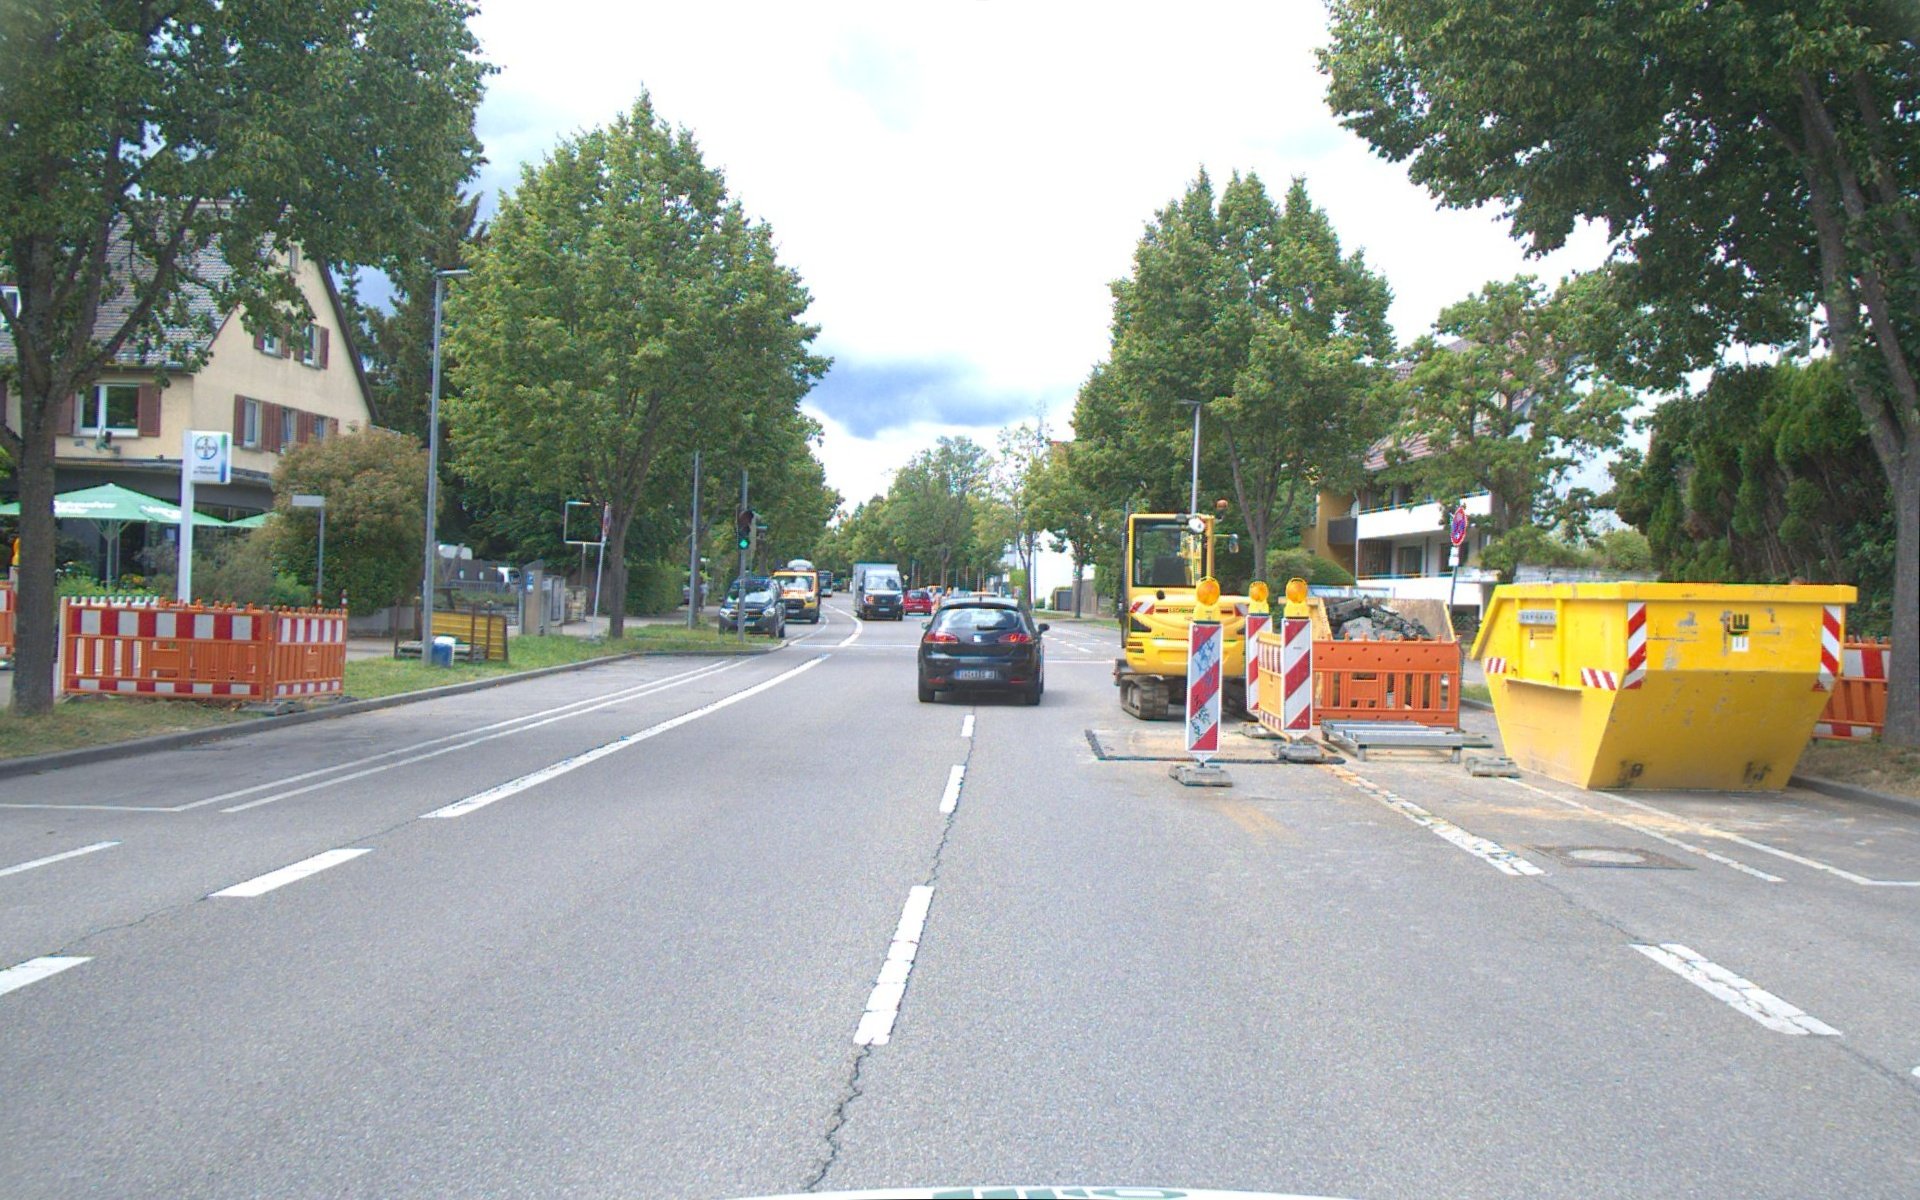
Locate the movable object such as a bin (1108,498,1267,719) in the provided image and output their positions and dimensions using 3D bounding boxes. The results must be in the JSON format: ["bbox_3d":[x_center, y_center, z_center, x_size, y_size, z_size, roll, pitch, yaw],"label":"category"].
[{"bbox_3d":[2.890,0.087,21.696,1.731,2.619,3.741,1,0,3],"label":"movable object such as a bin"}]

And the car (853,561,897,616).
[{"bbox_3d":[-4.487,-0.605,88.106,2.242,2.840,7.141,0,0,-2],"label":"car"}]

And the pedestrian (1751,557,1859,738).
[{"bbox_3d":[7.959,0.434,15.598,0.689,1.663,0.644,1,0,3],"label":"pedestrian"}]

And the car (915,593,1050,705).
[{"bbox_3d":[0.401,0.647,23.907,1.781,1.463,3.741,0,0,3],"label":"car"}]

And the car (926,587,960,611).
[{"bbox_3d":[-1.094,-0.075,103.722,1.775,1.440,3.688,1,0,-6],"label":"car"}]

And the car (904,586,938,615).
[{"bbox_3d":[-2.341,0.027,98.503,1.756,1.651,3.735,0,0,-6],"label":"car"}]

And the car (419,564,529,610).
[{"bbox_3d":[-19.760,-0.517,67.320,3.903,1.800,1.747,1,0,5],"label":"car"}]

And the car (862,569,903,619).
[{"bbox_3d":[-3.809,-0.303,81.947,1.988,2.426,5.260,0,0,-2],"label":"car"}]

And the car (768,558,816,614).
[{"bbox_3d":[-8.313,-0.678,82.086,2.050,2.672,5.042,1,0,-3],"label":"car"}]

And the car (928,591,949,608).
[{"bbox_3d":[-1.846,-0.075,145.363,1.773,1.440,3.693,1,0,0],"label":"car"}]

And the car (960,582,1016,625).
[{"bbox_3d":[1.114,0.141,68.195,1.869,1.715,3.735,0,0,-6],"label":"car"}]

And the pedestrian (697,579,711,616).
[{"bbox_3d":[-12.630,-0.126,81.705,0.583,1.772,0.574,1,0,-3],"label":"pedestrian"}]

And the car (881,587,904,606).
[{"bbox_3d":[-5.302,-0.283,130.785,1.773,1.399,3.691,1,0,-2],"label":"car"}]

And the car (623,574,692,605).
[{"bbox_3d":[-16.920,-0.598,92.619,3.609,1.622,1.678,1,0,-3],"label":"car"}]

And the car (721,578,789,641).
[{"bbox_3d":[-6.085,0.254,49.548,1.633,1.803,4.466,0,0,-2],"label":"car"}]
